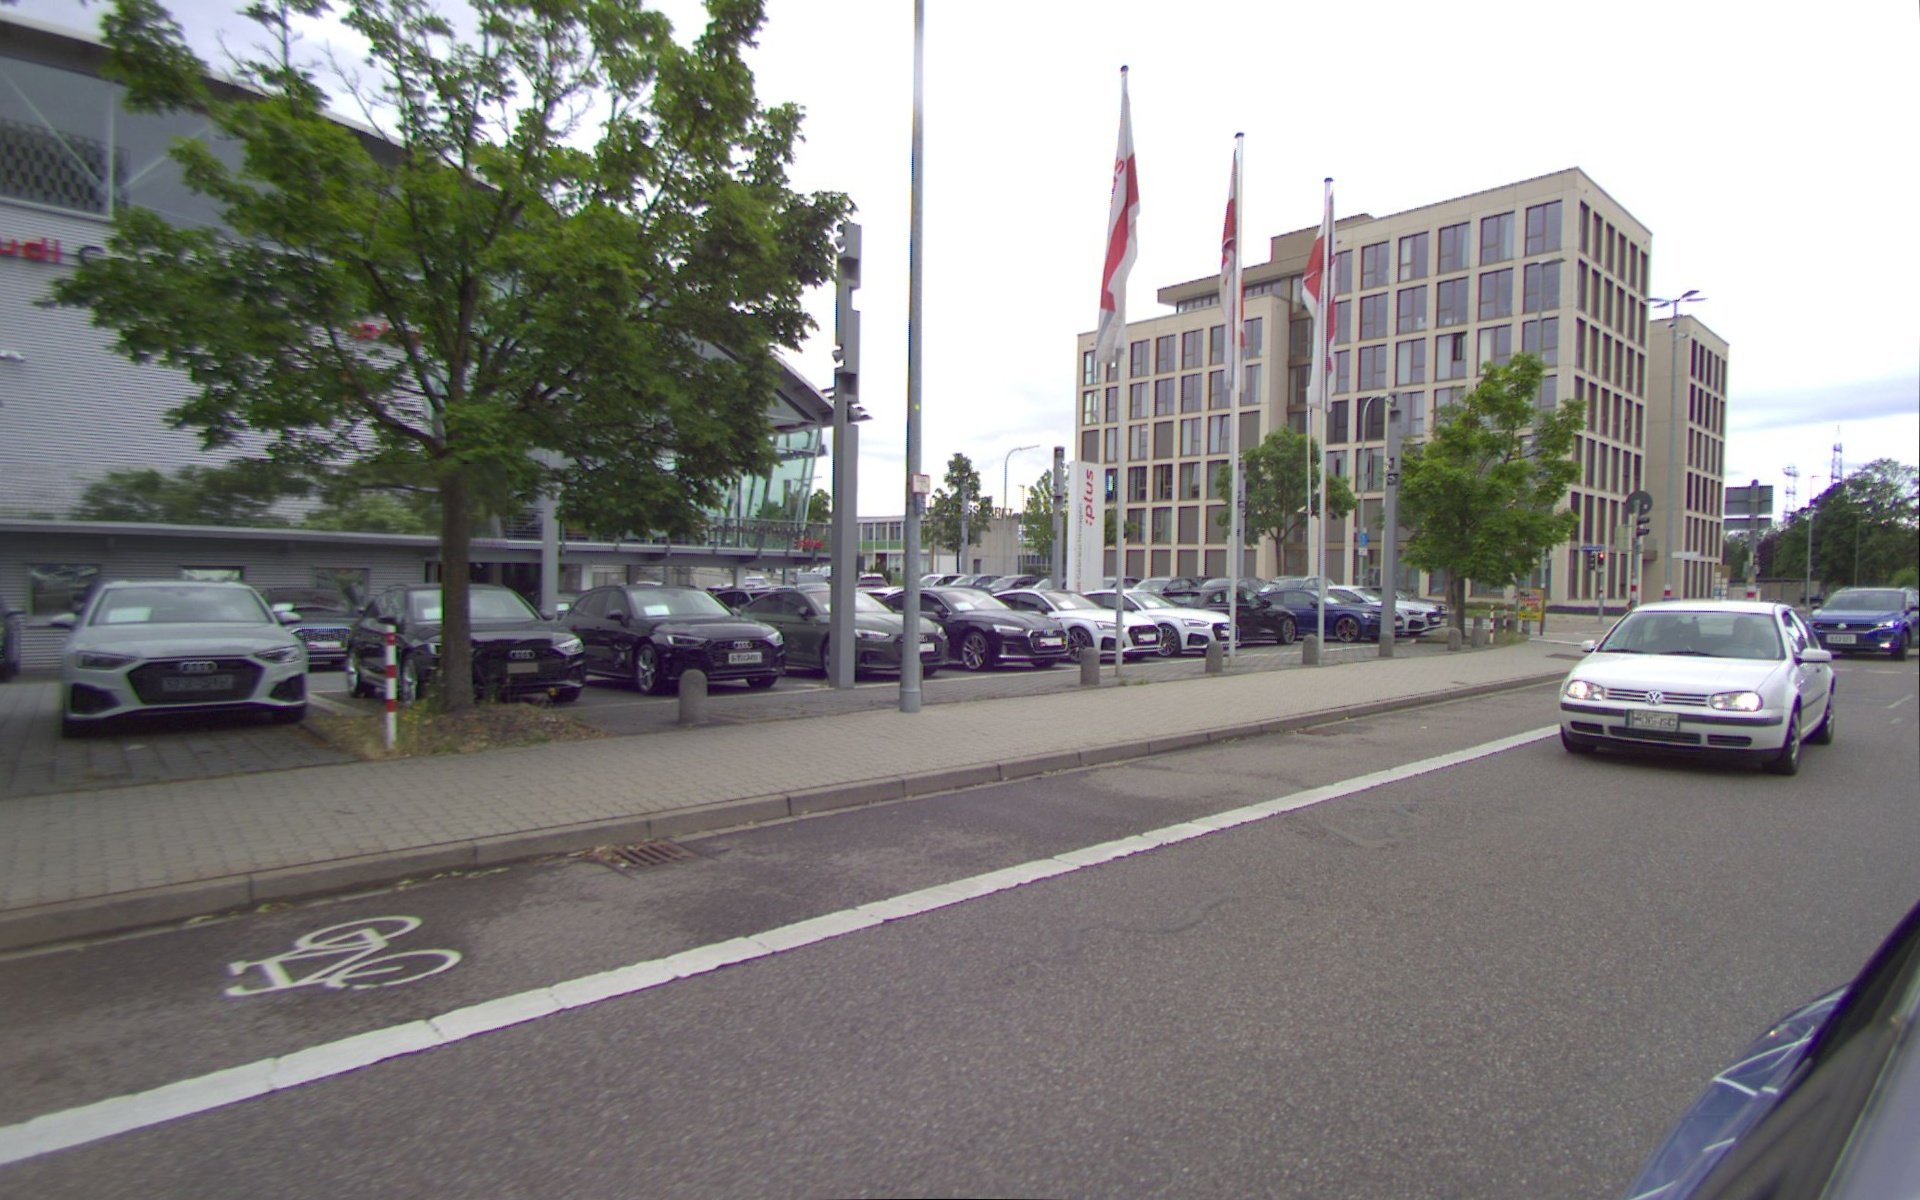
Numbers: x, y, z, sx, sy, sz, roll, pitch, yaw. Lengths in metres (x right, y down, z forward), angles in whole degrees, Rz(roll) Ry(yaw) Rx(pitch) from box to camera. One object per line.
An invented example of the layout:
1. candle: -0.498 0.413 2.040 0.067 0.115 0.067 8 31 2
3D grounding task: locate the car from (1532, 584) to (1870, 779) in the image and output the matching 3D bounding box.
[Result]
1. car: 7.297 0.639 9.830 3.935 1.496 1.836 1 0 -41

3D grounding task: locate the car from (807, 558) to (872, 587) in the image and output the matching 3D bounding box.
1. car: -7.362 -1.668 61.509 1.965 1.638 3.993 2 -1 -41

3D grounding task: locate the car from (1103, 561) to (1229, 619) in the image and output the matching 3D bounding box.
1. car: 7.924 -0.452 38.696 4.955 2.038 2.261 -3 2 -43

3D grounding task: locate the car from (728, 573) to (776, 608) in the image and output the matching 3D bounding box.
1. car: -10.633 -0.484 51.499 1.882 1.679 4.455 -1 1 -19

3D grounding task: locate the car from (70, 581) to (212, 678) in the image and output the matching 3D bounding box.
1. car: -15.048 0.475 18.518 1.785 1.564 4.108 2 -1 -42

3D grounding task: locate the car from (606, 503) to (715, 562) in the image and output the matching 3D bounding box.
1. car: -9.808 -2.136 32.951 1.794 1.683 3.992 2 -1 -43

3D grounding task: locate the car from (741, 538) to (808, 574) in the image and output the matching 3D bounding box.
1. car: -10.713 -2.494 58.212 1.965 1.846 3.993 2 -1 -41

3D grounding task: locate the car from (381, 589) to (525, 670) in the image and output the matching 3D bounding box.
1. car: -11.034 0.615 21.903 1.785 1.600 3.961 2 -2 -42

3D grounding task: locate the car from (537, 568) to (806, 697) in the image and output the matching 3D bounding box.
1. car: -4.119 0.412 13.975 1.862 1.489 4.370 0 -1 -42

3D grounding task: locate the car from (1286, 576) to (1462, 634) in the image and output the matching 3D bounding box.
1. car: 11.601 0.124 28.582 1.842 1.505 4.222 -1 0 -41

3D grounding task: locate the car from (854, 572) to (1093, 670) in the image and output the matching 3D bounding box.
1. car: 0.118 0.356 17.634 1.839 1.505 4.225 0 -1 -41

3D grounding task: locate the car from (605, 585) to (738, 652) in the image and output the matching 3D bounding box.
1. car: -7.427 0.428 25.817 1.697 1.562 3.993 2 -1 -41

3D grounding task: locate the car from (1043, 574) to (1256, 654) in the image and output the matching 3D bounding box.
1. car: 3.886 0.299 21.301 1.820 1.505 4.191 0 -1 -41

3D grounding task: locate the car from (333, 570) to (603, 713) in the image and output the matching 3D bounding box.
1. car: -6.022 0.446 12.128 1.870 1.408 4.159 0 -1 -41

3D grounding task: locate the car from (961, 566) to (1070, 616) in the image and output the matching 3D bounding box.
1. car: 2.482 -0.442 44.508 4.827 2.038 1.996 -3 2 -43

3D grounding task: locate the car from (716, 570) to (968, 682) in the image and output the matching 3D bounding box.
1. car: -1.966 0.389 15.883 1.876 1.505 4.182 0 -1 -42

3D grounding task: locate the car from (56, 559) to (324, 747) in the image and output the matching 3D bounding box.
1. car: -8.036 0.459 10.385 1.816 1.491 4.655 1 -1 -42

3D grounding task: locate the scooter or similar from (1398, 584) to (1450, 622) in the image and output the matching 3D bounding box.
1. scooter or similar: 15.741 0.087 34.369 0.547 1.234 1.563 3 0 -24

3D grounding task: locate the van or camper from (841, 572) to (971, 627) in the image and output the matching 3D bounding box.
1. van or camper: -1.752 0.001 33.663 3.931 1.699 1.996 2 -1 -42

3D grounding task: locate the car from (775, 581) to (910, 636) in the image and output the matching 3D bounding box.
1. car: -3.511 0.306 29.733 1.894 1.505 4.255 2 -3 -41

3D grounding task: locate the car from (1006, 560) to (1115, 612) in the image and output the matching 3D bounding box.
1. car: 4.264 -0.639 42.325 4.711 2.038 1.995 -3 2 -45

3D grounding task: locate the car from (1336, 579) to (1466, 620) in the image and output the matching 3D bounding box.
1. car: 18.373 -0.053 42.363 1.948 1.570 4.612 0 2 -37

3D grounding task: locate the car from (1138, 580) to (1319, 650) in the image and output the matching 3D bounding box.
1. car: 6.486 0.325 24.157 4.673 1.505 1.889 -1 -1 -41

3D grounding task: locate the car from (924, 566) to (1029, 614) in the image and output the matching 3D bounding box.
1. car: 0.814 -0.511 46.654 4.827 2.038 1.996 -3 2 -43

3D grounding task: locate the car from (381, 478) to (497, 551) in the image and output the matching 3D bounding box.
1. car: -14.291 -2.256 27.640 1.794 1.683 3.992 2 -1 -43

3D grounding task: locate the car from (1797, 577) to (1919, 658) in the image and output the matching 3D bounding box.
1. car: 20.765 0.321 22.627 4.246 1.642 1.849 -1 1 -31

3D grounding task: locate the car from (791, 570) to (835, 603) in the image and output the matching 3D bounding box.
1. car: -7.830 -0.712 53.540 1.882 1.679 4.455 -1 1 -13

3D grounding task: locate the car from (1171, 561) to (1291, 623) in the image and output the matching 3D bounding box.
1. car: 9.783 -0.347 36.335 4.637 2.038 1.996 -3 2 -43

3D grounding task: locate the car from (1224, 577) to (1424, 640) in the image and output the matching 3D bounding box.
1. car: 9.497 0.232 26.674 2.035 1.505 4.506 -2 0 -43

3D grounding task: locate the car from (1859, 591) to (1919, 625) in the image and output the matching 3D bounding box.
1. car: 44.461 0.384 48.306 4.078 1.509 1.869 2 -1 -42

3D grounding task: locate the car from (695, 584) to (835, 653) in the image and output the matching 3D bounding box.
1. car: -5.409 0.460 27.703 1.779 1.717 4.311 2 -1 -41

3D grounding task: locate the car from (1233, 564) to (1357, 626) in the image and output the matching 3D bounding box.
1. car: 11.438 -0.229 34.372 4.708 1.885 1.996 -3 2 -43

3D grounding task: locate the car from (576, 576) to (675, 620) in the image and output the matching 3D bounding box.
1. car: -15.397 -0.081 46.641 3.933 1.861 1.756 2 -1 -44

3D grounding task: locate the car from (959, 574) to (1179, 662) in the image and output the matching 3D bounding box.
1. car: 1.998 0.336 19.462 1.844 1.505 4.037 0 -1 -41

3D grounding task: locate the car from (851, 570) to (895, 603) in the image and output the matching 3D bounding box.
1. car: -4.673 -0.730 55.013 1.887 1.679 4.445 -1 1 1

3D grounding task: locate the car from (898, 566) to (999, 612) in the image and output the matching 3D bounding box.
1. car: -0.520 -0.580 49.286 4.827 2.038 1.996 -3 2 -43

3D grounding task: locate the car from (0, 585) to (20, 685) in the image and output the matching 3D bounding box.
1. car: -17.177 0.515 17.079 1.785 1.564 4.108 2 -1 -42

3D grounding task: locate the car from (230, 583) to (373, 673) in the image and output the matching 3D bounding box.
1. car: -13.170 0.539 20.139 1.785 1.600 3.961 2 -2 -42

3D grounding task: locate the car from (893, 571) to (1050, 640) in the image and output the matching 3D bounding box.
1. car: 0.410 0.108 31.417 4.733 1.963 1.997 0 2 -41

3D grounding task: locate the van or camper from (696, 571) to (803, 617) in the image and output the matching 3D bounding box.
1. van or camper: -8.650 -0.228 41.784 3.931 1.733 1.844 2 -1 -42

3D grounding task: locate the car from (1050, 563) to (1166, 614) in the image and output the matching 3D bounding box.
1. car: 5.985 -0.511 40.512 4.883 1.899 2.049 -3 2 -45
